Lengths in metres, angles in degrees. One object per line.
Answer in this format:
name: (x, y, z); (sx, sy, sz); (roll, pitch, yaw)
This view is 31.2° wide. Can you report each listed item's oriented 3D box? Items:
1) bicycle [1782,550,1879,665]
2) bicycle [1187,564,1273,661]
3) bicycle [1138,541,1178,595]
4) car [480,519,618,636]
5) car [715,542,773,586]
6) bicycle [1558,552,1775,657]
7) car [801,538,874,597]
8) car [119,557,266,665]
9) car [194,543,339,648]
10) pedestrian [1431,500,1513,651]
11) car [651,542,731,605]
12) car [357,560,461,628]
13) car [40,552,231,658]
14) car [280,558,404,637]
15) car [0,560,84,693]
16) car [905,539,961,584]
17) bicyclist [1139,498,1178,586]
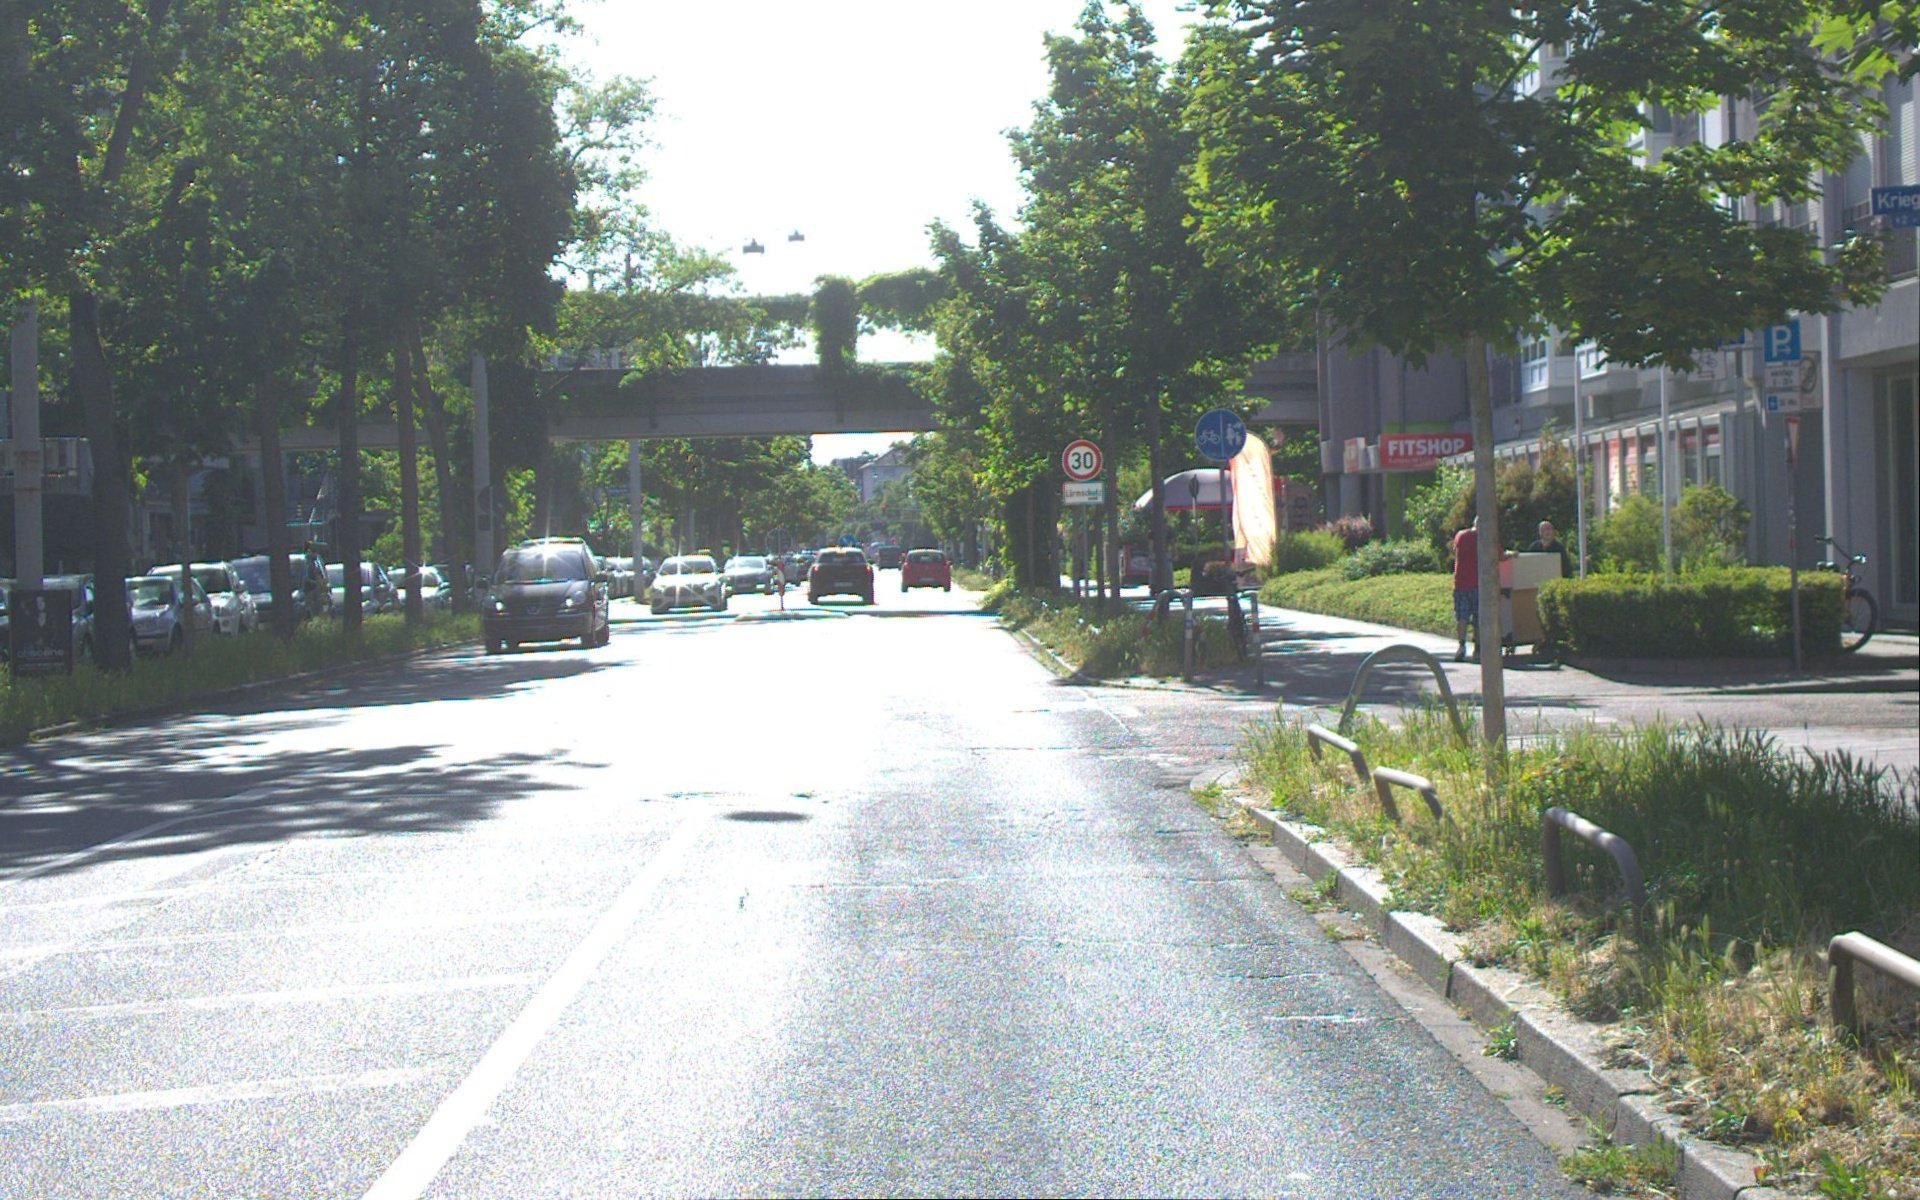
bicycle: (8.933, 0.059, 35.359); (0.685, 1.024, 2.203); (-2, 3, 8)
bicycle: (3.112, 0.134, 39.461); (0.591, 1.062, 2.021); (-1, 1, 16)
bicycle: (3.843, -0.614, 66.792); (0.589, 1.024, 1.860); (-1, 0, -2)
car: (-6.927, -0.404, 58.351); (1.855, 1.819, 4.610); (-3, 1, -2)
car: (-7.688, -1.290, 122.438); (1.855, 1.435, 4.319); (-3, 1, -2)
bicycle: (7.698, 0.046, 37.501); (2.196, 1.024, 0.687); (-2, 3, 1)
car: (-3.420, -0.925, 95.864); (1.984, 1.595, 4.141); (-1, 1, -2)
car: (-12.591, 0.147, 56.656); (1.855, 1.678, 4.666); (0, 1, -6)
car: (-12.576, -0.119, 62.578); (1.855, 1.843, 4.562); (0, 1, -2)
pedestrian: (5.598, -0.264, 37.606); (0.653, 1.598, 0.603); (-4, 0, -6)
car: (-7.191, -0.726, 92.234); (1.855, 1.563, 4.716); (-3, 1, -2)
car: (-12.806, -0.159, 80.176); (1.855, 1.518, 4.319); (0, 1, -2)
car: (-12.335, 0.047, 51.663); (1.856, 1.518, 4.063); (0, 1, 1)
car: (-12.611, -0.070, 70.382); (1.855, 1.563, 3.872); (0, 1, 0)
car: (-11.943, 0.297, 41.099); (1.781, 1.518, 4.319); (0, 1, 1)
car: (-0.920, -1.358, 120.239); (1.856, 1.518, 4.319); (0, 1, 1)
bicyclist: (3.853, -1.123, 66.766); (0.667, 1.689, 0.889); (0, 0, -3)
